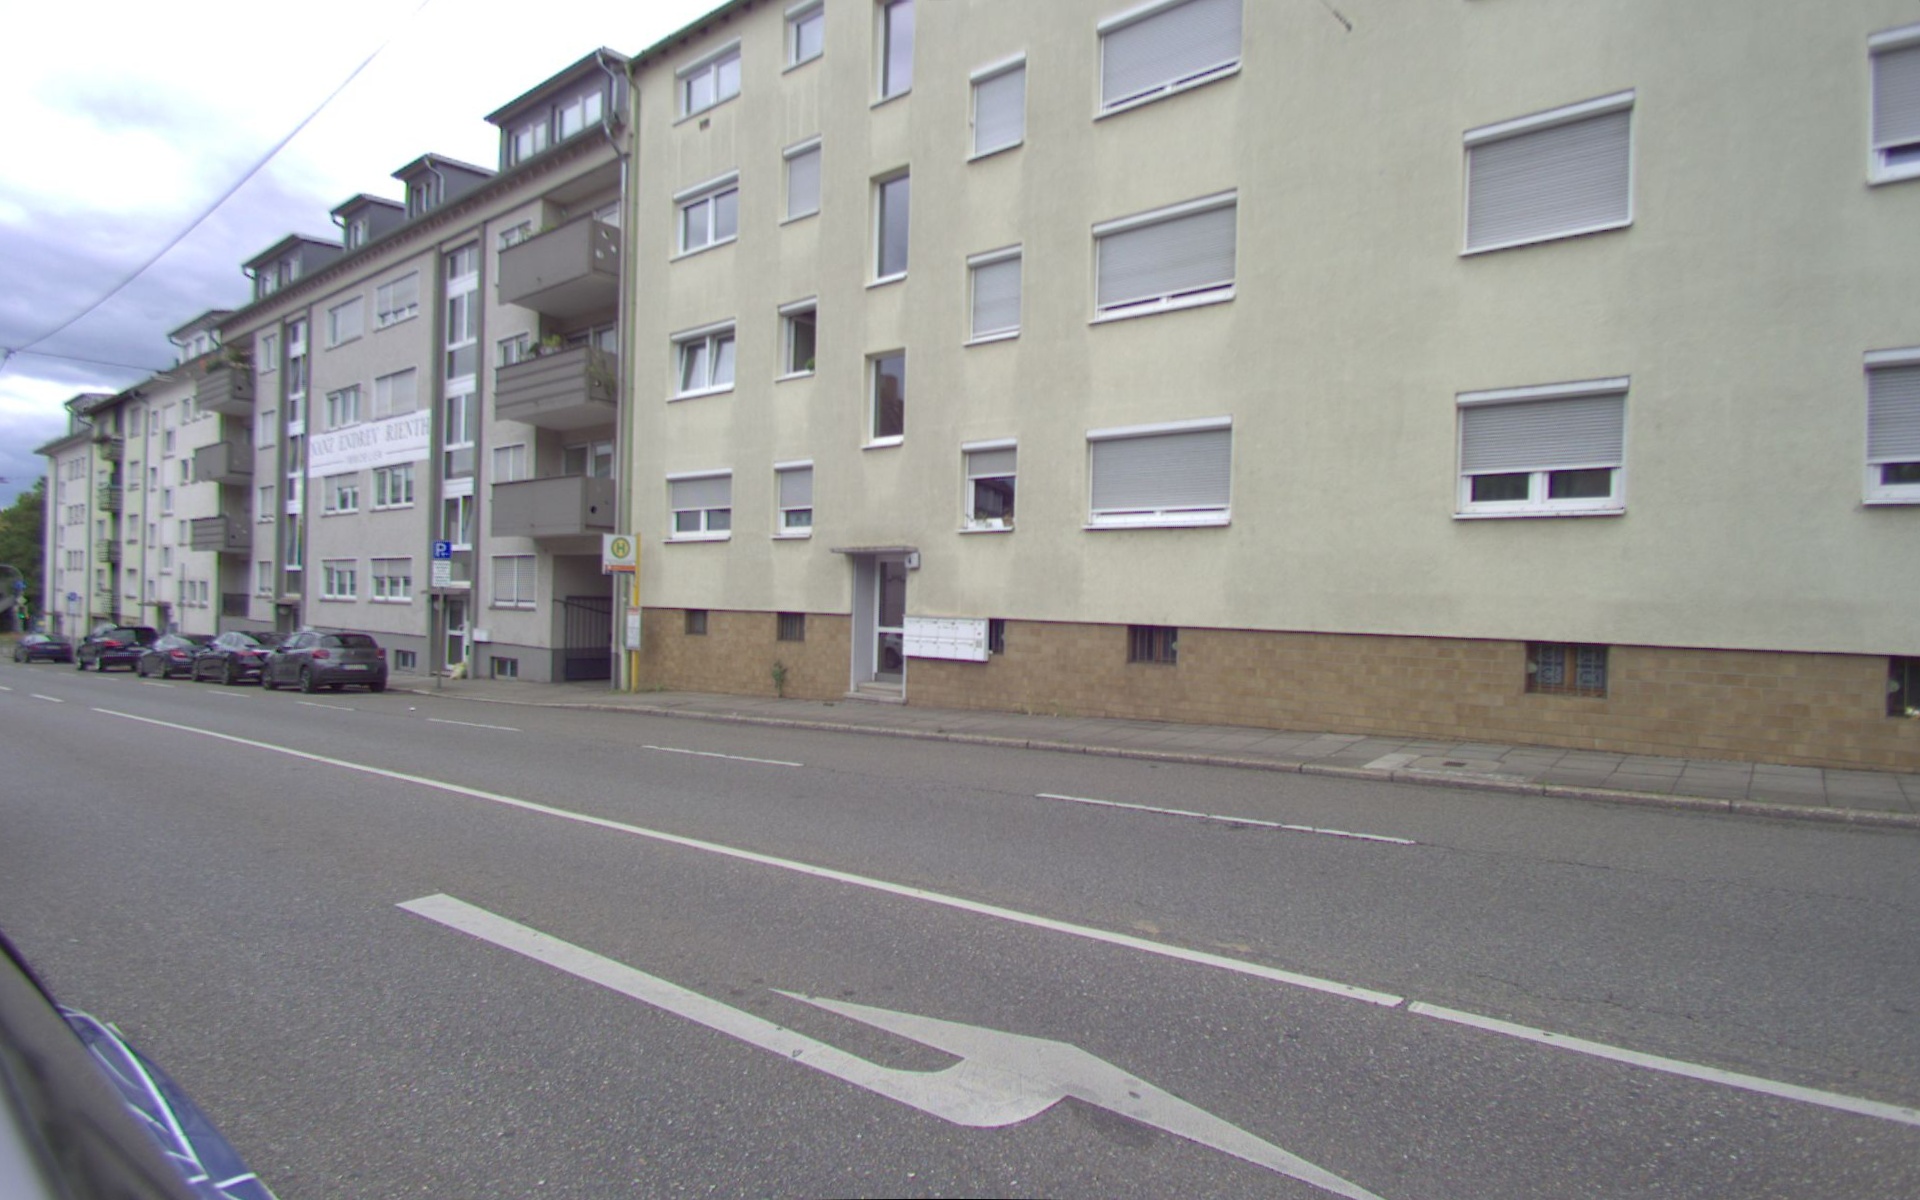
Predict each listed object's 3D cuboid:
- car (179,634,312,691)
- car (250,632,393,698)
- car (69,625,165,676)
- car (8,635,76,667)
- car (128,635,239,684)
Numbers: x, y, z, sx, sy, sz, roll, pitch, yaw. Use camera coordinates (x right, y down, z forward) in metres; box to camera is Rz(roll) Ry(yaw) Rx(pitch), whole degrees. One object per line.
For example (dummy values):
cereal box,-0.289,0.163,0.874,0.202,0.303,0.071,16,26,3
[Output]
car,-19.807,1.699,27.996,4.713,1.416,1.750,-1,-4,39
car,-15.479,1.536,24.474,3.797,1.447,1.750,-1,-4,39
car,-31.200,1.857,37.431,4.303,1.767,1.852,-1,-4,39
car,-43.875,2.419,48.343,4.306,1.391,1.850,-1,-4,41
car,-24.200,1.827,31.492,4.303,1.416,1.750,-1,-4,39
